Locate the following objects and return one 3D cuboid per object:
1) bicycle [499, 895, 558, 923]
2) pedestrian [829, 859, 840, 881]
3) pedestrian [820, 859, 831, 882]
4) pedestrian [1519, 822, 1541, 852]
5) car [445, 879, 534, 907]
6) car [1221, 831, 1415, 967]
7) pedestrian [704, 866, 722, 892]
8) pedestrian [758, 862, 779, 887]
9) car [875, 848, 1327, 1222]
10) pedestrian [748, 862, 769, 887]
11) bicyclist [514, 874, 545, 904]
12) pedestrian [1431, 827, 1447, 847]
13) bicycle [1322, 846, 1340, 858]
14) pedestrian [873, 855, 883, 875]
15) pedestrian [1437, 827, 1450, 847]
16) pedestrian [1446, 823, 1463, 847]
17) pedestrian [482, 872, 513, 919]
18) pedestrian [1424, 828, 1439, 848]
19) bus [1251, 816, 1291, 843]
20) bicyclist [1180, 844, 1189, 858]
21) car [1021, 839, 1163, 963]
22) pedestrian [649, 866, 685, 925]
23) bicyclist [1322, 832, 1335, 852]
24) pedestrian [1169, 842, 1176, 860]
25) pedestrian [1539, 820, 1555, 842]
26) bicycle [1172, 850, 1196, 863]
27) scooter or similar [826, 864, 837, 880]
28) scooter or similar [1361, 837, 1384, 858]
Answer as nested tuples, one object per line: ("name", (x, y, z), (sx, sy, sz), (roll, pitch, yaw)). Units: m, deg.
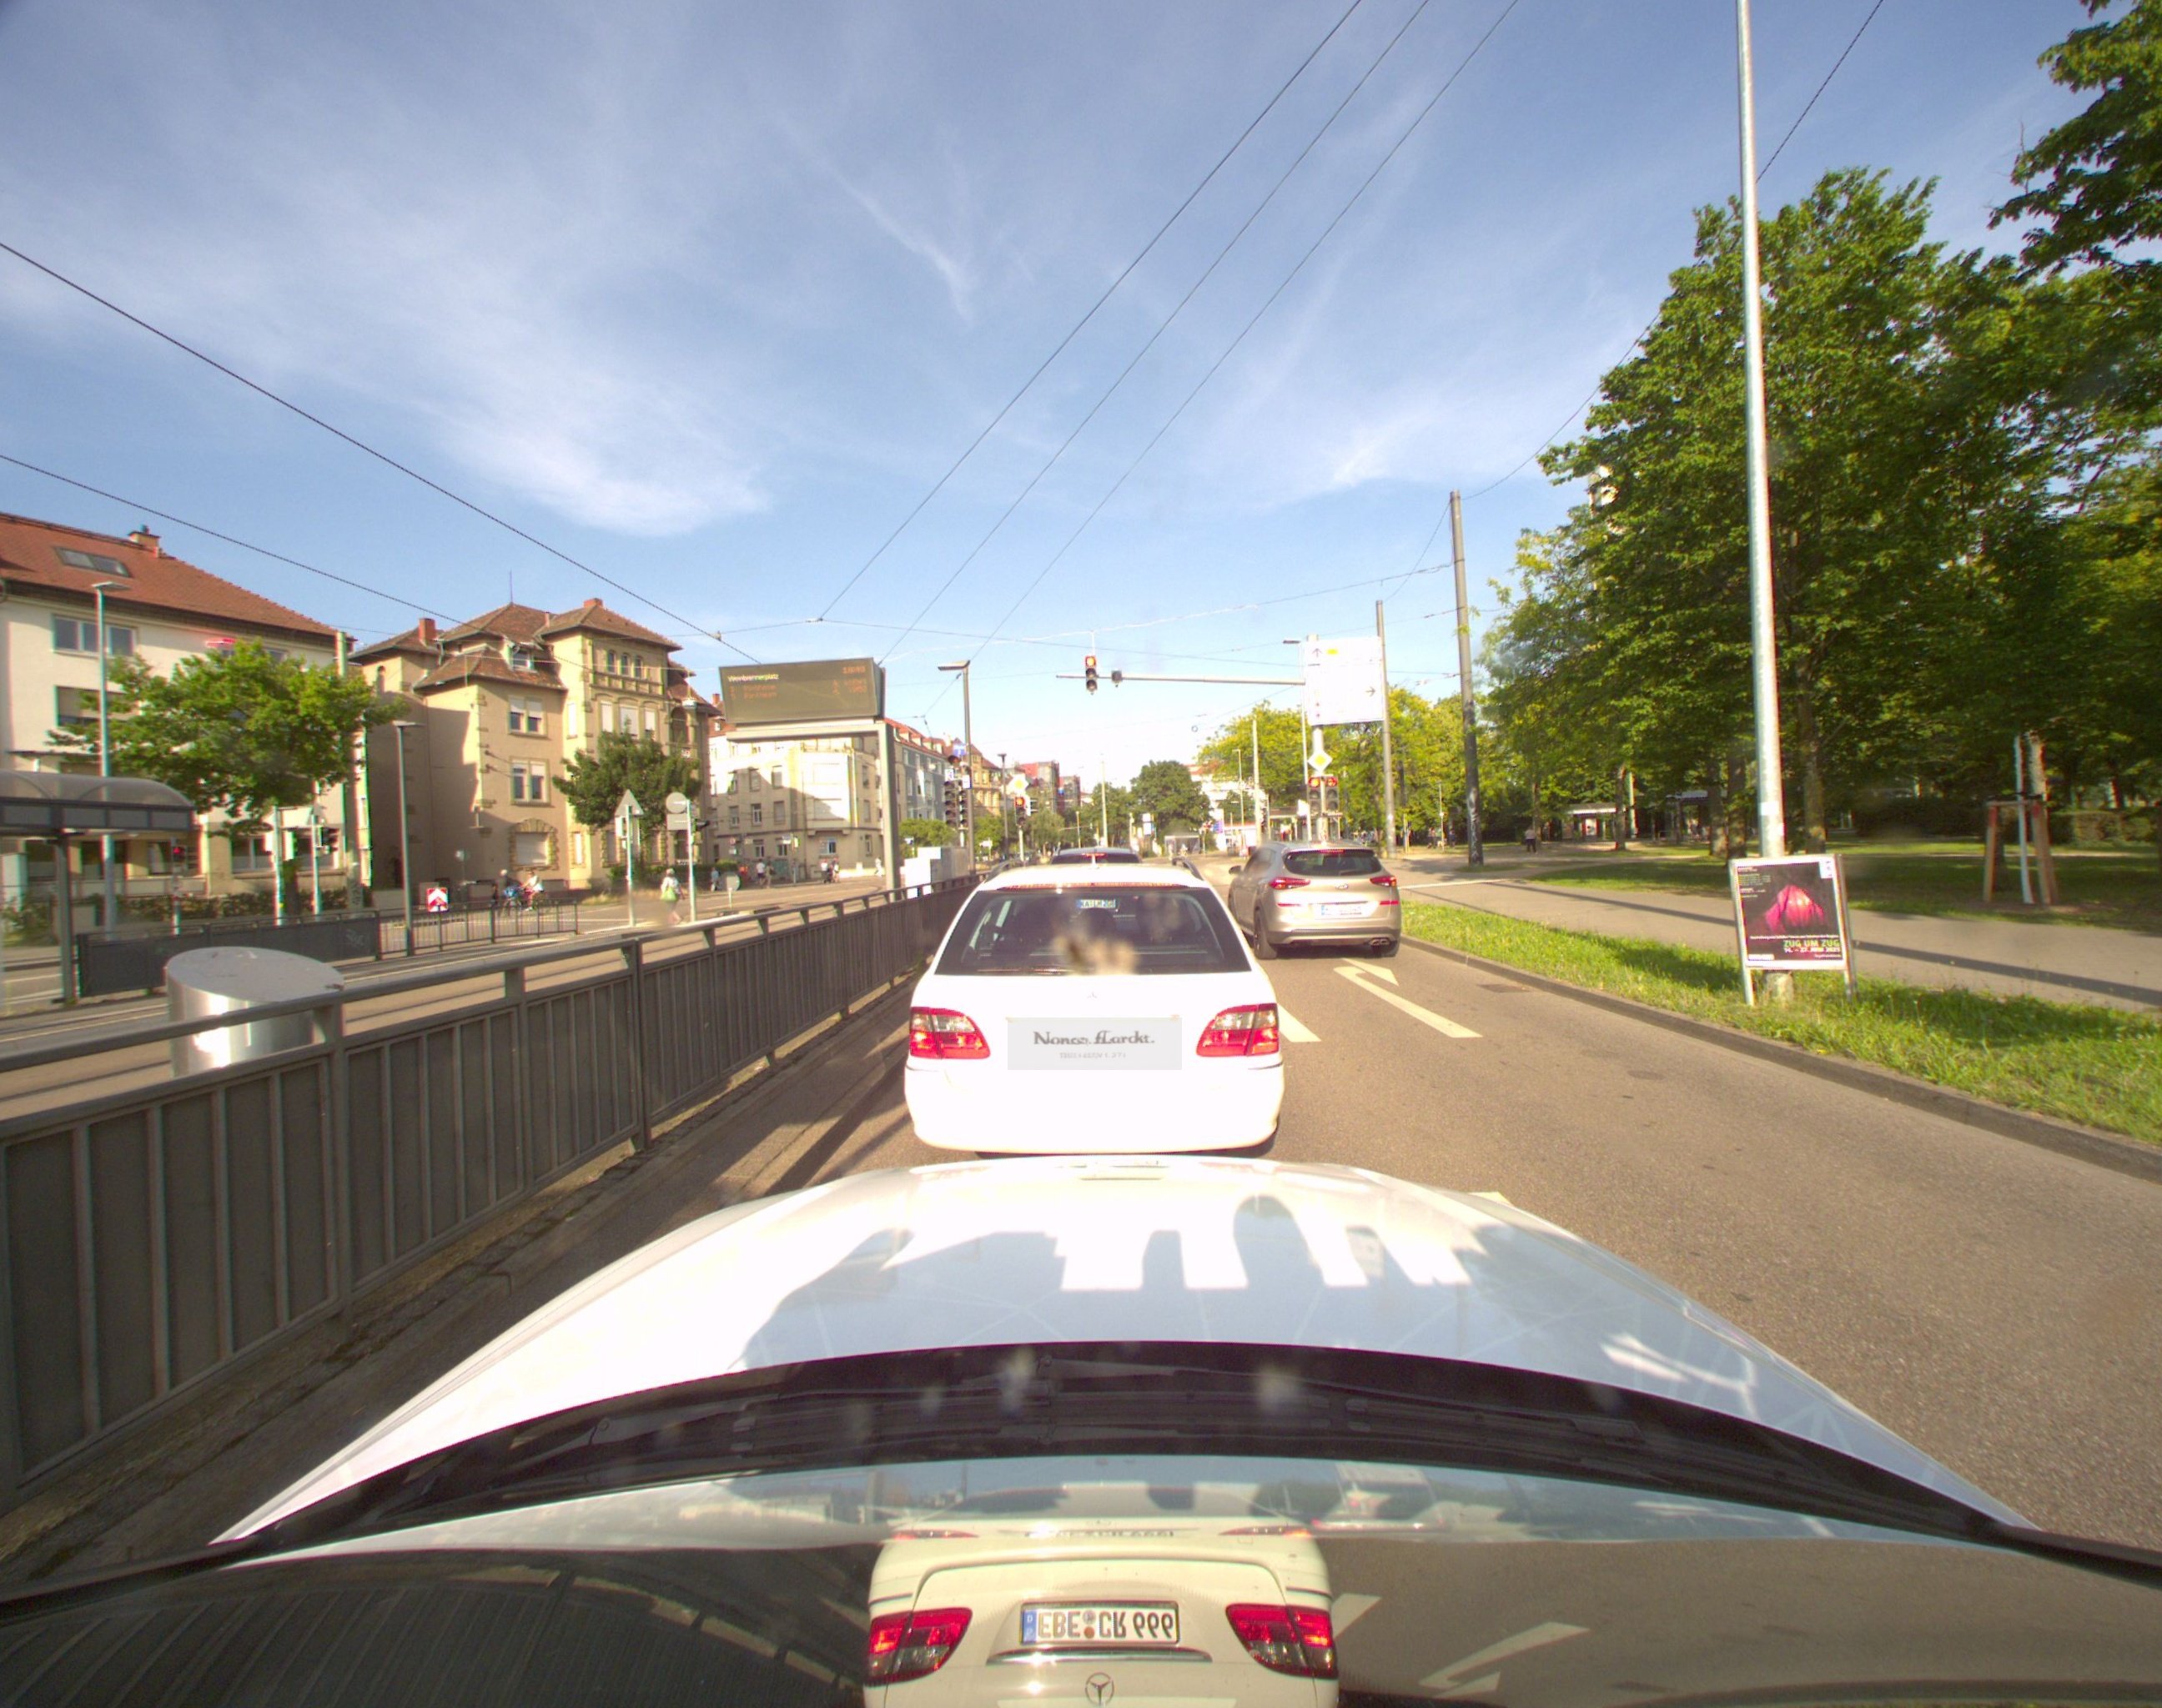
("bicycle", (-19.657, 1.941, 29.013), (0.521, 0.834, 1.695), (-3, 0, 22))
("pedestrian", (-17.547, 1.134, 58.066), (0.434, 1.500, 0.551), (-3, 0, 16))
("pedestrian", (-18.281, 1.151, 58.216), (0.506, 1.626, 0.609), (-3, 0, 3))
("pedestrian", (25.570, -0.956, 46.414), (0.758, 1.636, 0.800), (-3, 0, -38))
("car", (-29.453, 1.911, 40.569), (4.066, 1.310, 1.774), (-1, -1, 24))
("car", (3.332, 0.568, 12.201), (1.878, 1.651, 3.649), (-3, 0, 2))
("pedestrian", (-22.301, 1.521, 49.368), (0.626, 1.541, 0.711), (-3, 0, 1))
("pedestrian", (-19.683, 1.286, 51.273), (0.822, 1.552, 0.786), (-3, 0, 23))
("car", (0.125, 0.722, 5.099), (1.789, 1.470, 3.649), (-1, 0, 1))
("pedestrian", (-20.464, 1.310, 51.707), (0.822, 1.552, 0.786), (-3, 0, 23))
("bicyclist", (-19.670, 1.242, 29.046), (0.508, 1.044, 0.683), (-3, 0, 21))
("pedestrian", (28.104, -1.319, 63.887), (0.813, 1.487, 0.698), (-3, 0, -9))
("bicycle", (16.098, -0.116, 52.438), (0.493, 0.757, 2.169), (-4, 0, 2))
("pedestrian", (-17.723, 0.973, 71.088), (0.616, 1.660, 0.588), (-3, 0, 10))
("pedestrian", (27.769, -1.299, 62.382), (0.805, 1.487, 0.705), (-3, 0, 26))
("pedestrian", (29.119, -1.473, 63.507), (0.797, 1.785, 0.838), (-3, 0, -2))
("pedestrian", (-21.242, 1.512, 29.636), (0.798, 1.645, 0.748), (-3, 0, -42))
("pedestrian", (27.256, -1.237, 63.298), (0.820, 1.487, 0.692), (-3, 0, -40))
("bus", (28.635, -3.522, 122.384), (3.080, 3.606, 12.447), (-1, -1, 26))
("bicyclist", (11.032, -0.316, 86.590), (0.855, 1.482, 0.792), (-3, 0, 11))
("car", (0.209, 0.625, 12.709), (1.878, 1.651, 3.649), (0, 0, 2))
("pedestrian", (-11.550, 1.142, 22.728), (0.611, 1.599, 0.632), (-3, 0, -5))
("bicyclist", (15.993, -0.759, 52.560), (0.532, 1.262, 0.869), (-3, 0, 2))
("pedestrian", (9.527, -0.310, 84.777), (0.638, 1.857, 0.554), (-3, 0, 13))
("pedestrian", (36.720, -1.816, 64.155), (0.831, 1.636, 0.804), (-3, 0, 8))
("bicycle", (10.980, 0.251, 86.597), (2.467, 1.213, 0.809), (-3, 0, 9))
("scooter or similar", (-18.047, 1.295, 58.857), (0.541, 1.079, 0.683), (-1, -1, 1))
("scooter or similar", (16.191, -0.354, 45.260), (0.421, 1.117, 1.322), (-3, 0, -18))
